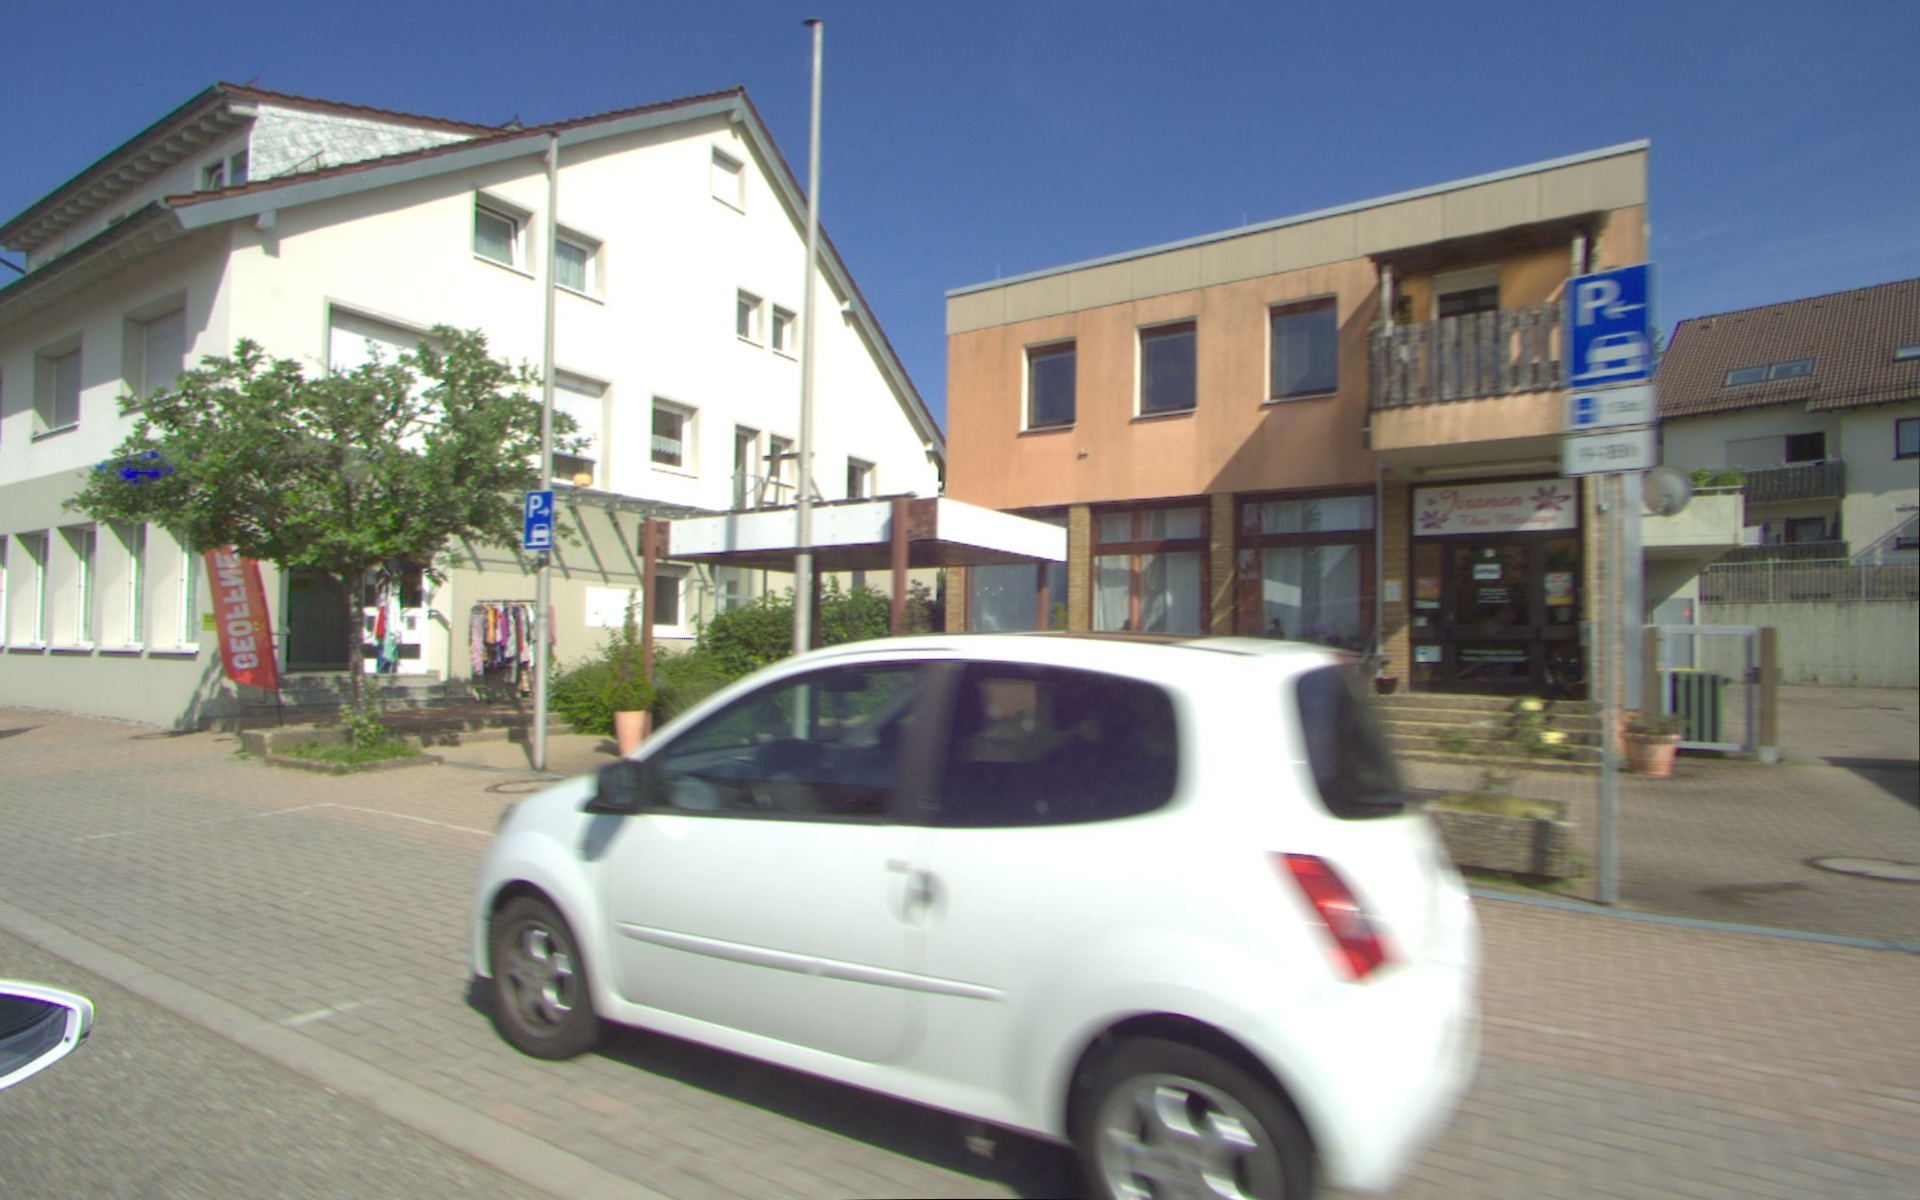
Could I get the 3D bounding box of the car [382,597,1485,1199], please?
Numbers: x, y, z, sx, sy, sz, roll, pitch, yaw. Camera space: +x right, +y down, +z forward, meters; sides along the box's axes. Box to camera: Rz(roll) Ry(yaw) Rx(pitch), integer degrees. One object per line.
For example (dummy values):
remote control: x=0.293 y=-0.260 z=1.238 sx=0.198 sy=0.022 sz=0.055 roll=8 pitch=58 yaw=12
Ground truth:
car: x=-0.212 y=0.736 z=3.574 sx=3.582 sy=1.442 sz=1.756 roll=-1 pitch=0 yaw=32
